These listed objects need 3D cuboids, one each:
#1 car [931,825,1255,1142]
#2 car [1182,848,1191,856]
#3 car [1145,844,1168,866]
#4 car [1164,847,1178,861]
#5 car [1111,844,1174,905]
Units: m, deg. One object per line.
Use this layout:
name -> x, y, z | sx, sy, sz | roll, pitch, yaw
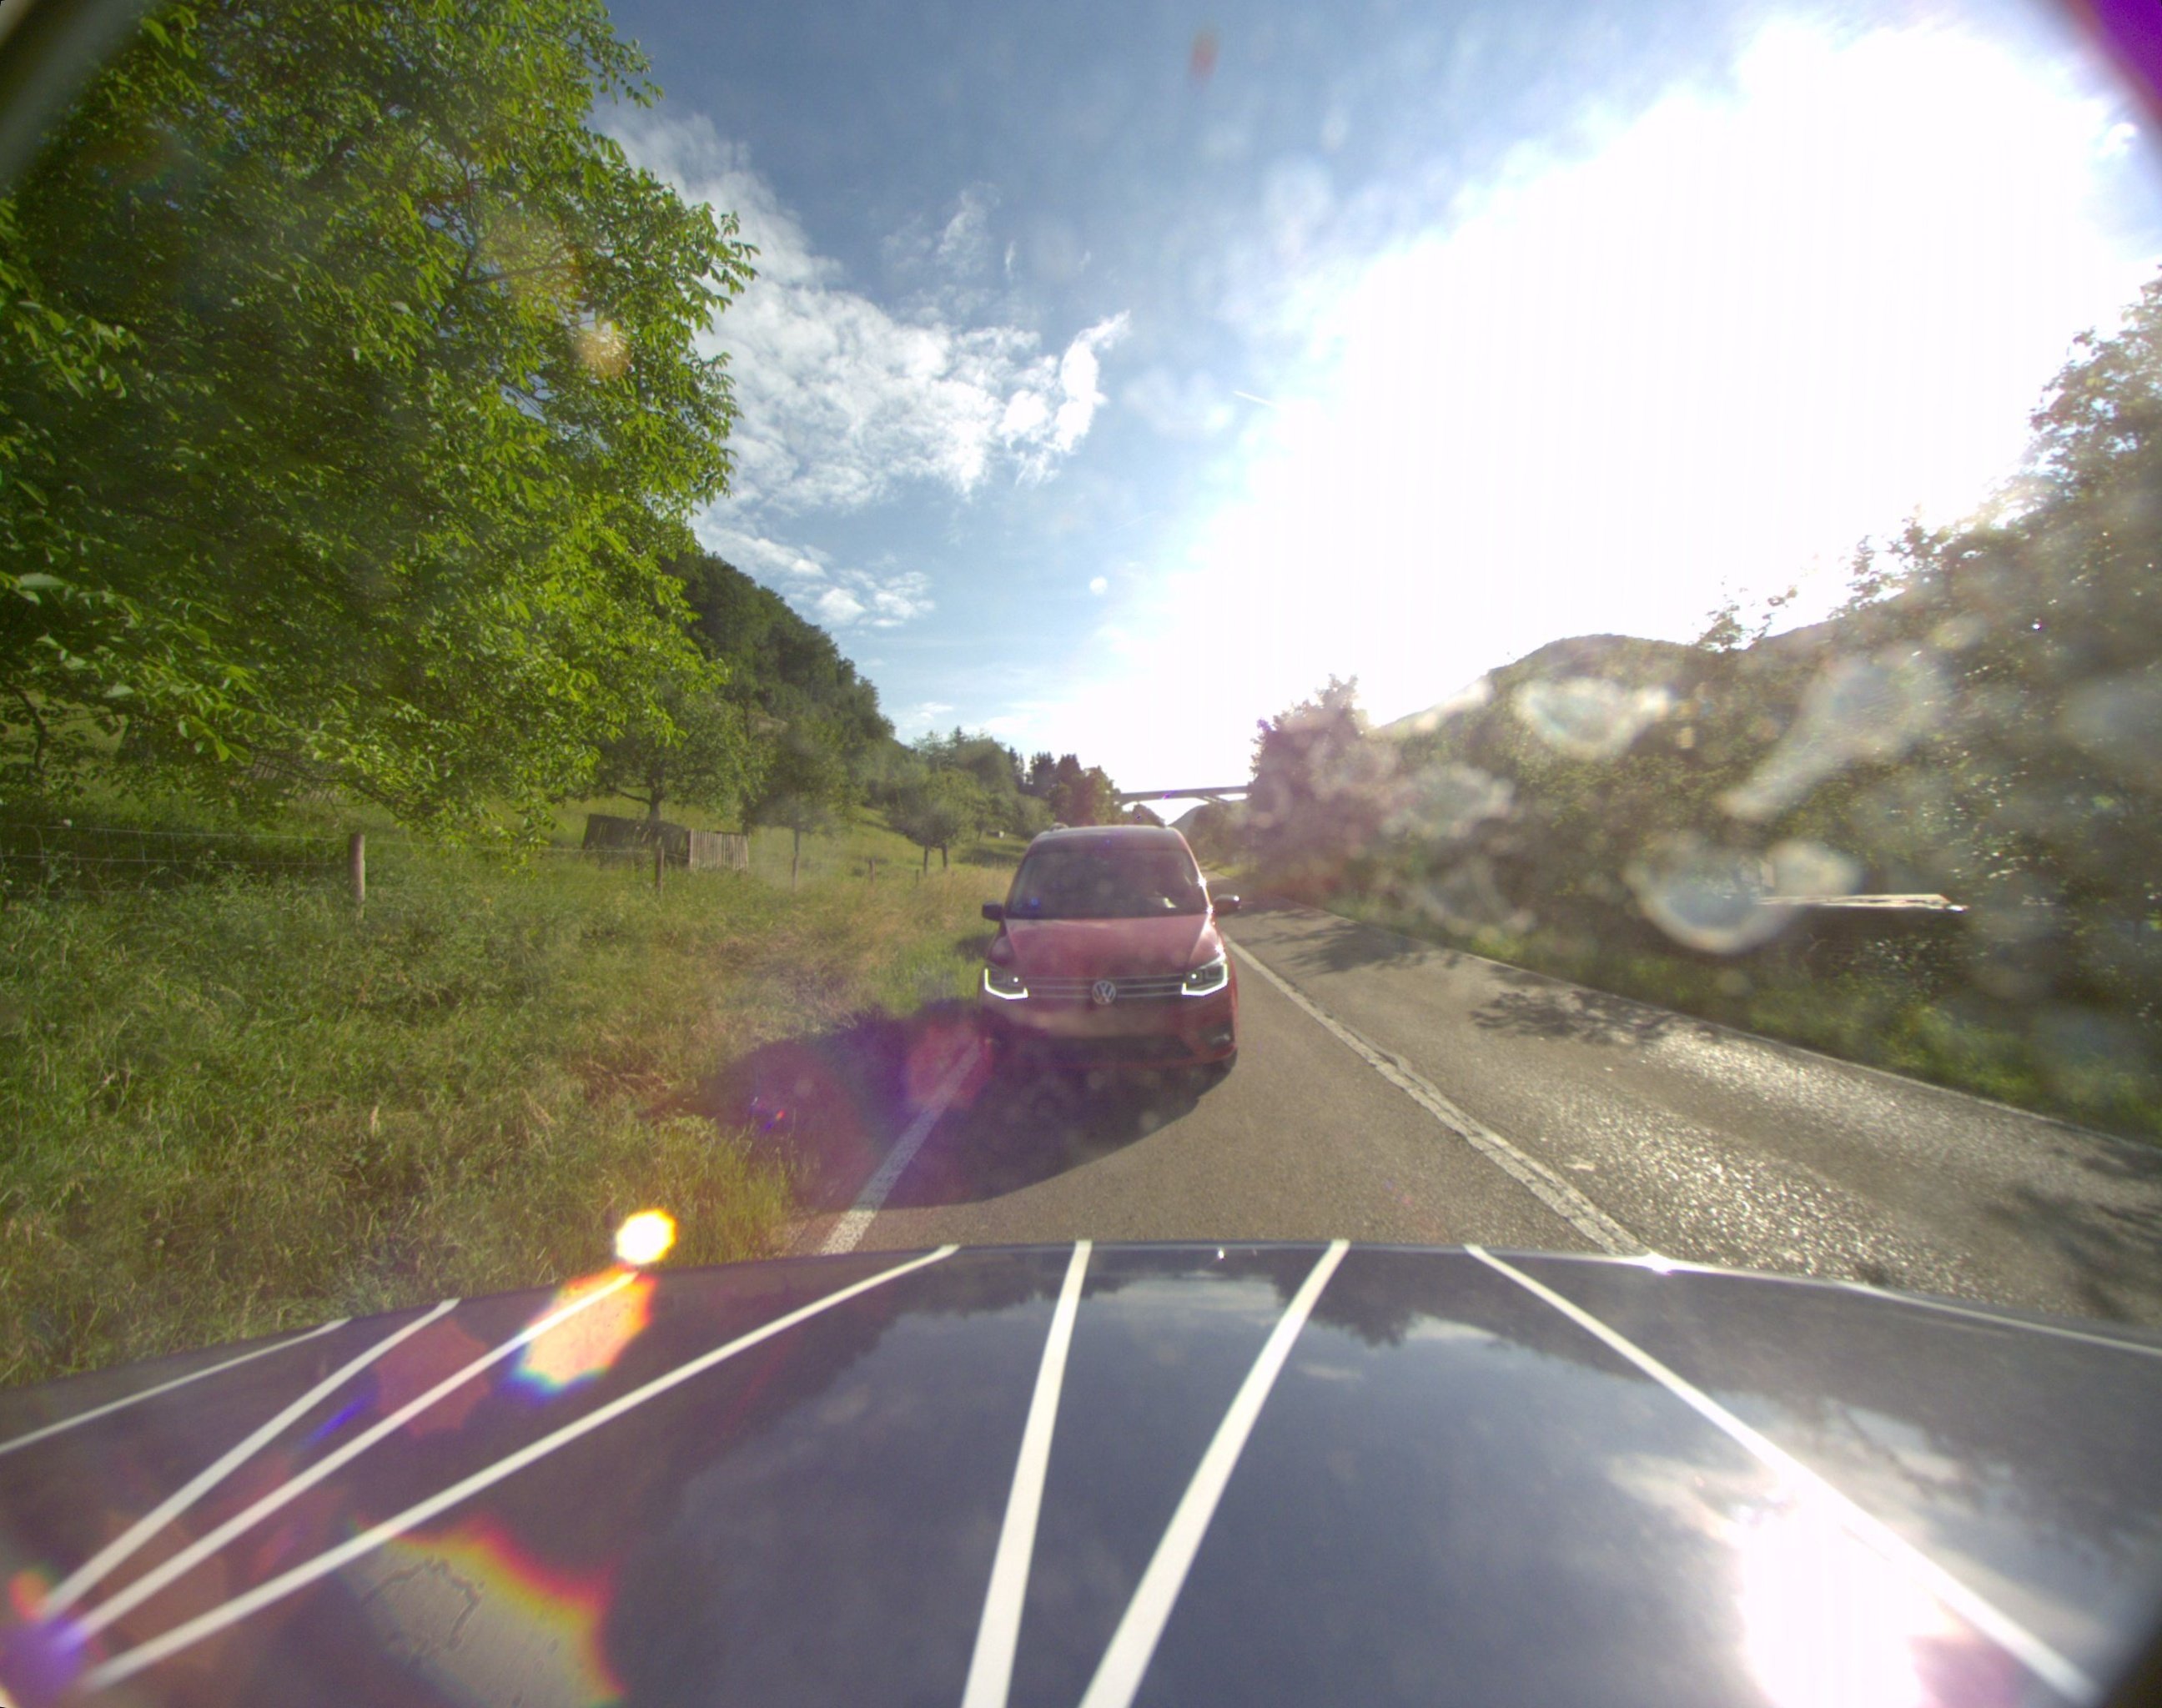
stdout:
car -> 0.209, 0.712, 6.478 | 1.759, 1.745, 4.430 | -2, 1, 4
car -> 18.198, -0.315, 130.948 | 1.597, 1.346, 4.205 | -2, 1, 8
car -> 7.210, 0.044, 73.158 | 1.998, 2.002, 4.000 | -2, 1, 4
car -> 13.855, 0.025, 117.680 | 1.998, 2.002, 4.001 | -2, 1, 6
car -> 1.956, 0.577, 24.267 | 1.758, 1.745, 4.001 | -2, 1, 5
